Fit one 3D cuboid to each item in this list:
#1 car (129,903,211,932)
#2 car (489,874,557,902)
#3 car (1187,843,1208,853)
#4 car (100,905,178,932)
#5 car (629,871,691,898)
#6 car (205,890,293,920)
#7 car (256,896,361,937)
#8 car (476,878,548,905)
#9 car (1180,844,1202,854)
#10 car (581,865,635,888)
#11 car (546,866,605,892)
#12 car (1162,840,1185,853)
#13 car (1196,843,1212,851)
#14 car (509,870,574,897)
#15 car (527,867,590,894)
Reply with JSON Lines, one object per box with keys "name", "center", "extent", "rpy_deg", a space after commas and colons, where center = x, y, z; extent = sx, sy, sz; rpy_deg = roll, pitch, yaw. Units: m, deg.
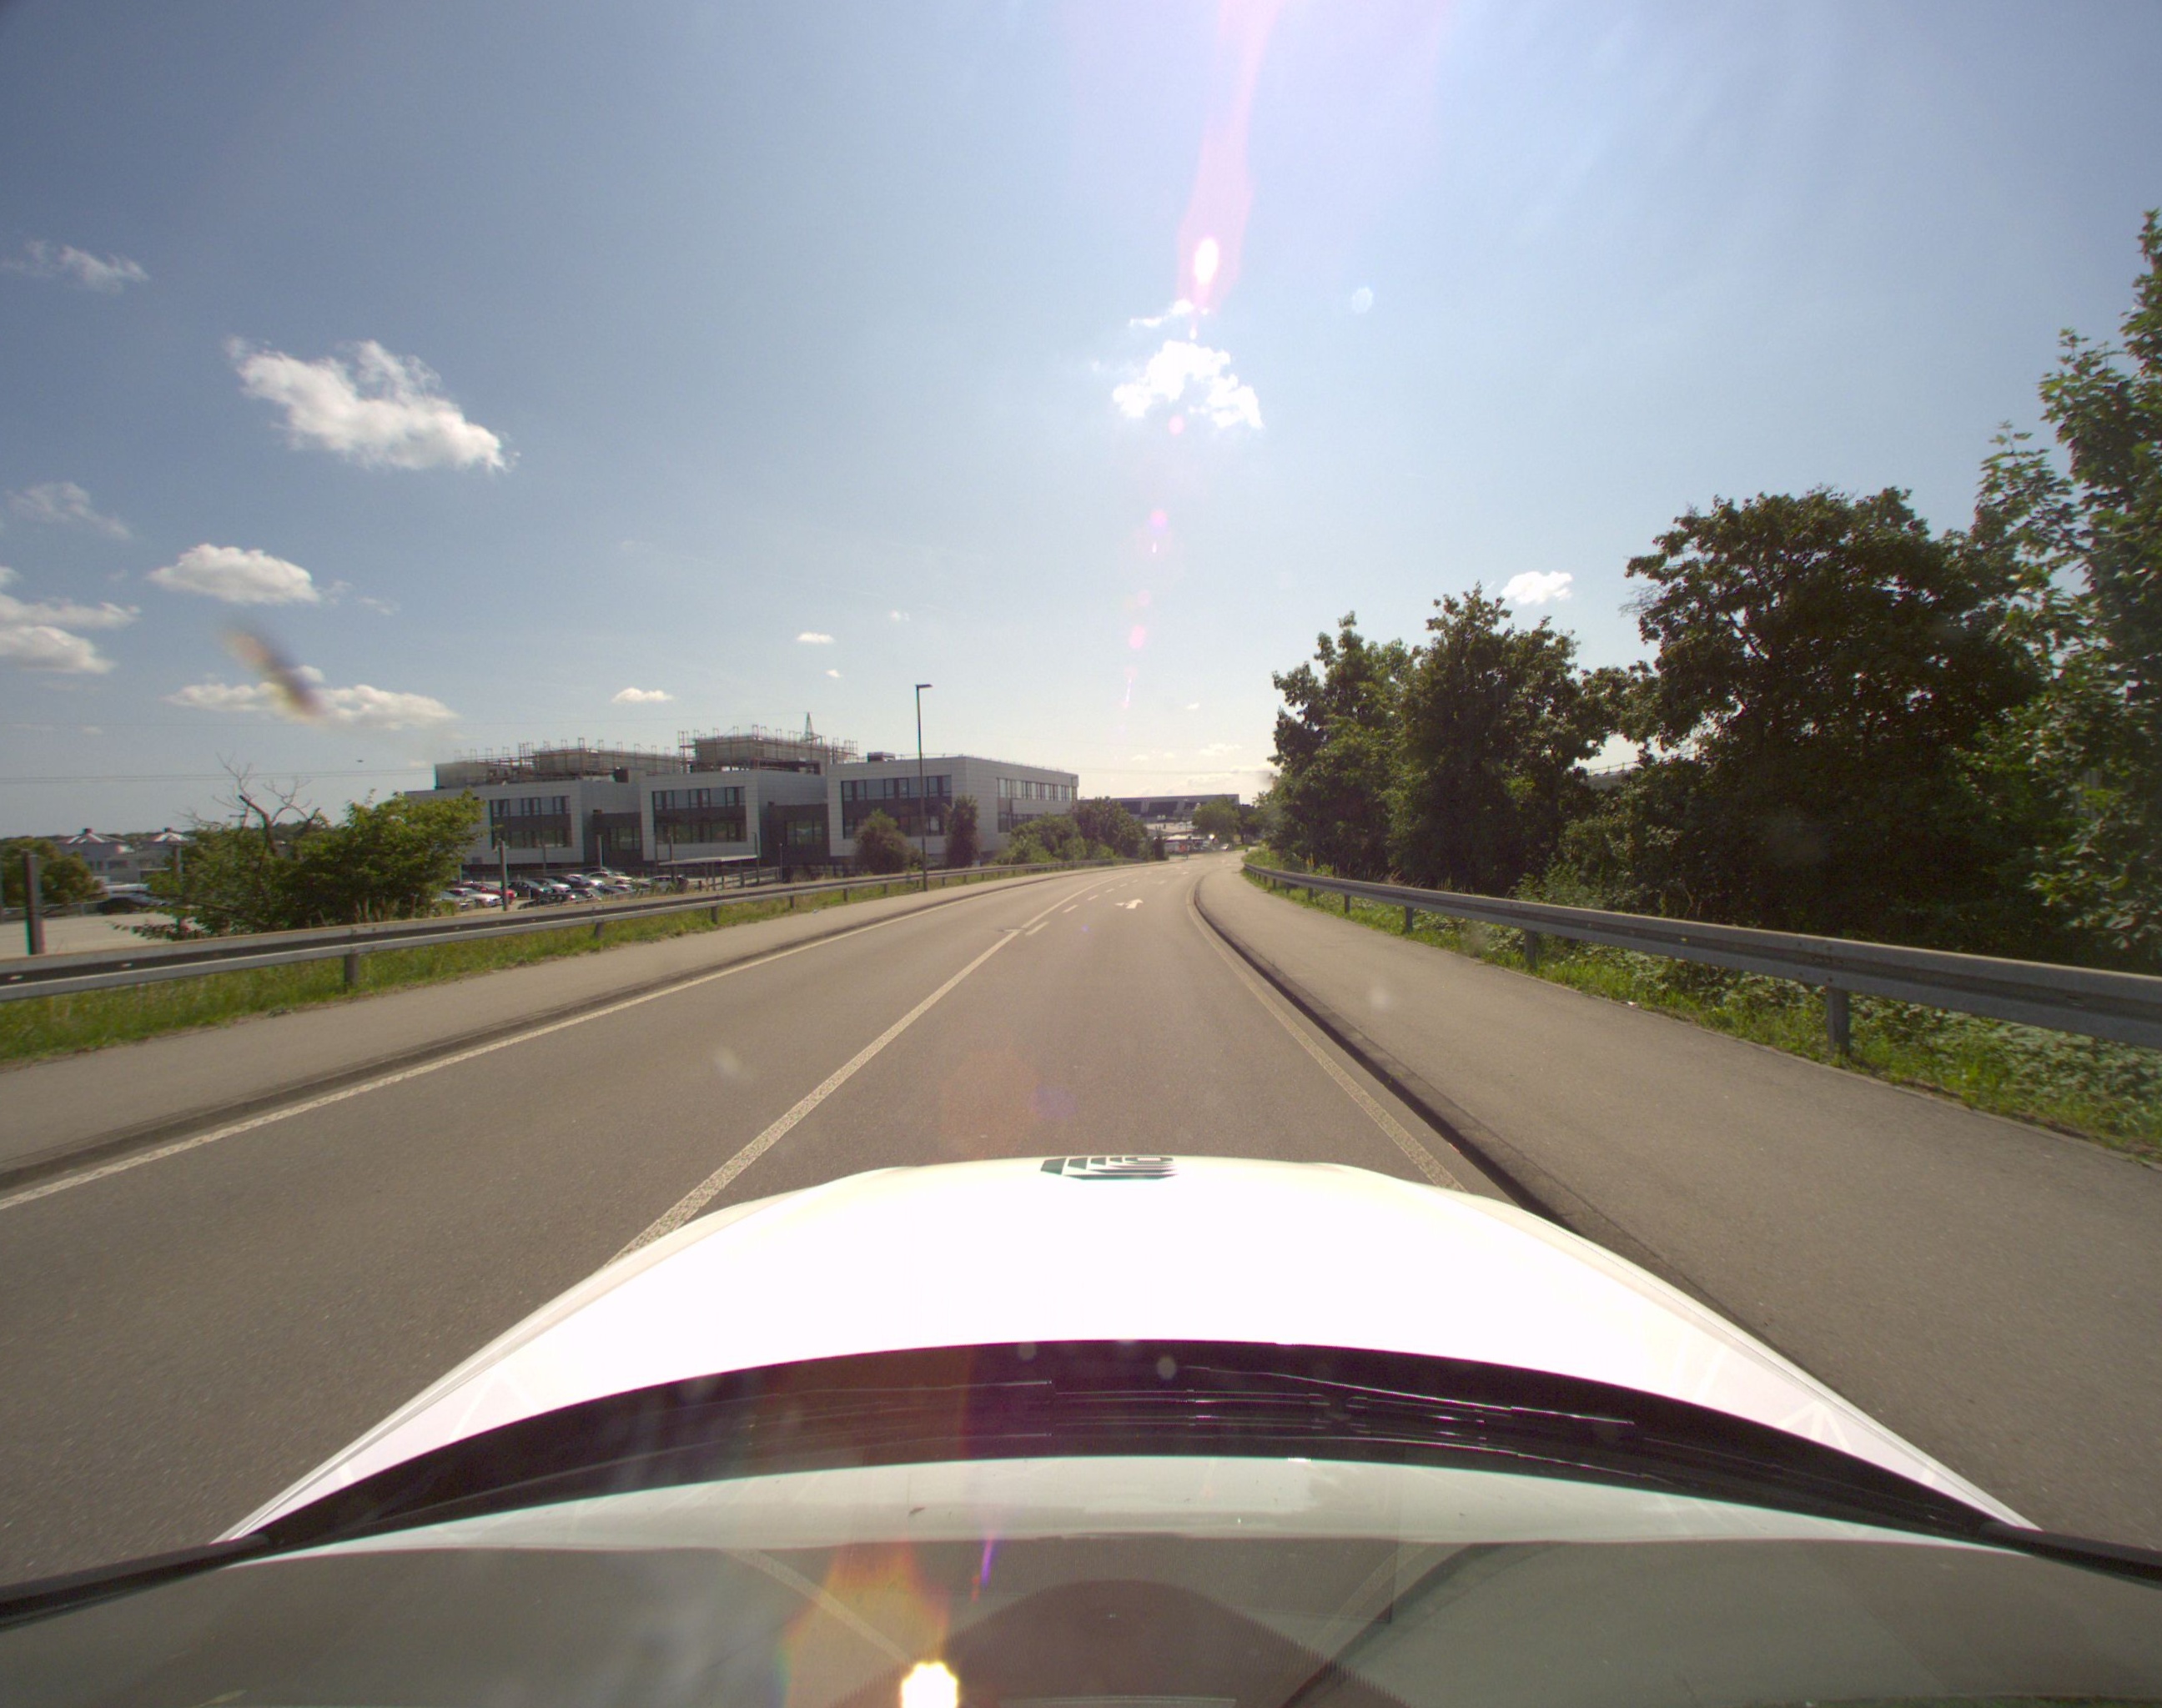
{"name": "car", "center": [-69.463, 4.820, 62.151], "extent": [3.976, 1.841, 1.864], "rpy_deg": [-3, 0, -2]}
{"name": "car", "center": [-45.027, 2.729, 65.802], "extent": [3.981, 1.903, 1.997], "rpy_deg": [-1, 3, -6]}
{"name": "car", "center": [24.441, -1.343, 170.425], "extent": [3.950, 1.903, 2.012], "rpy_deg": [1, 4, 44]}
{"name": "car", "center": [-76.334, 5.214, 66.058], "extent": [3.976, 1.841, 1.864], "rpy_deg": [-3, 0, -2]}
{"name": "car", "center": [-34.435, 2.487, 66.652], "extent": [3.980, 2.013, 1.958], "rpy_deg": [0, 2, -5]}
{"name": "car", "center": [-60.846, 3.705, 59.631], "extent": [3.985, 1.837, 1.994], "rpy_deg": [-4, 0, -8]}
{"name": "car", "center": [-43.669, 3.506, 46.113], "extent": [3.971, 2.013, 2.002], "rpy_deg": [-1, 3, 2]}
{"name": "car", "center": [-44.279, 2.880, 63.462], "extent": [3.988, 1.814, 1.993], "rpy_deg": [-2, 3, -11]}
{"name": "car", "center": [22.509, -1.014, 166.974], "extent": [2.012, 1.780, 3.952], "rpy_deg": [-4, 4, -43]}
{"name": "car", "center": [-45.416, 2.135, 78.274], "extent": [3.981, 2.013, 1.997], "rpy_deg": [-1, 3, -6]}
{"name": "car", "center": [-45.338, 2.237, 73.101], "extent": [3.981, 2.013, 1.997], "rpy_deg": [-1, 3, -6]}
{"name": "car", "center": [18.688, -1.569, 164.926], "extent": [2.012, 2.608, 4.311], "rpy_deg": [-1, 1, -44]}
{"name": "car", "center": [30.445, -1.825, 201.407], "extent": [3.966, 1.850, 1.838], "rpy_deg": [-1, 1, 6]}
{"name": "car", "center": [-45.224, 2.482, 68.318], "extent": [3.981, 2.013, 1.997], "rpy_deg": [-1, 3, -6]}
{"name": "car", "center": [-45.281, 2.288, 70.667], "extent": [3.981, 2.013, 1.997], "rpy_deg": [-1, 3, -6]}
